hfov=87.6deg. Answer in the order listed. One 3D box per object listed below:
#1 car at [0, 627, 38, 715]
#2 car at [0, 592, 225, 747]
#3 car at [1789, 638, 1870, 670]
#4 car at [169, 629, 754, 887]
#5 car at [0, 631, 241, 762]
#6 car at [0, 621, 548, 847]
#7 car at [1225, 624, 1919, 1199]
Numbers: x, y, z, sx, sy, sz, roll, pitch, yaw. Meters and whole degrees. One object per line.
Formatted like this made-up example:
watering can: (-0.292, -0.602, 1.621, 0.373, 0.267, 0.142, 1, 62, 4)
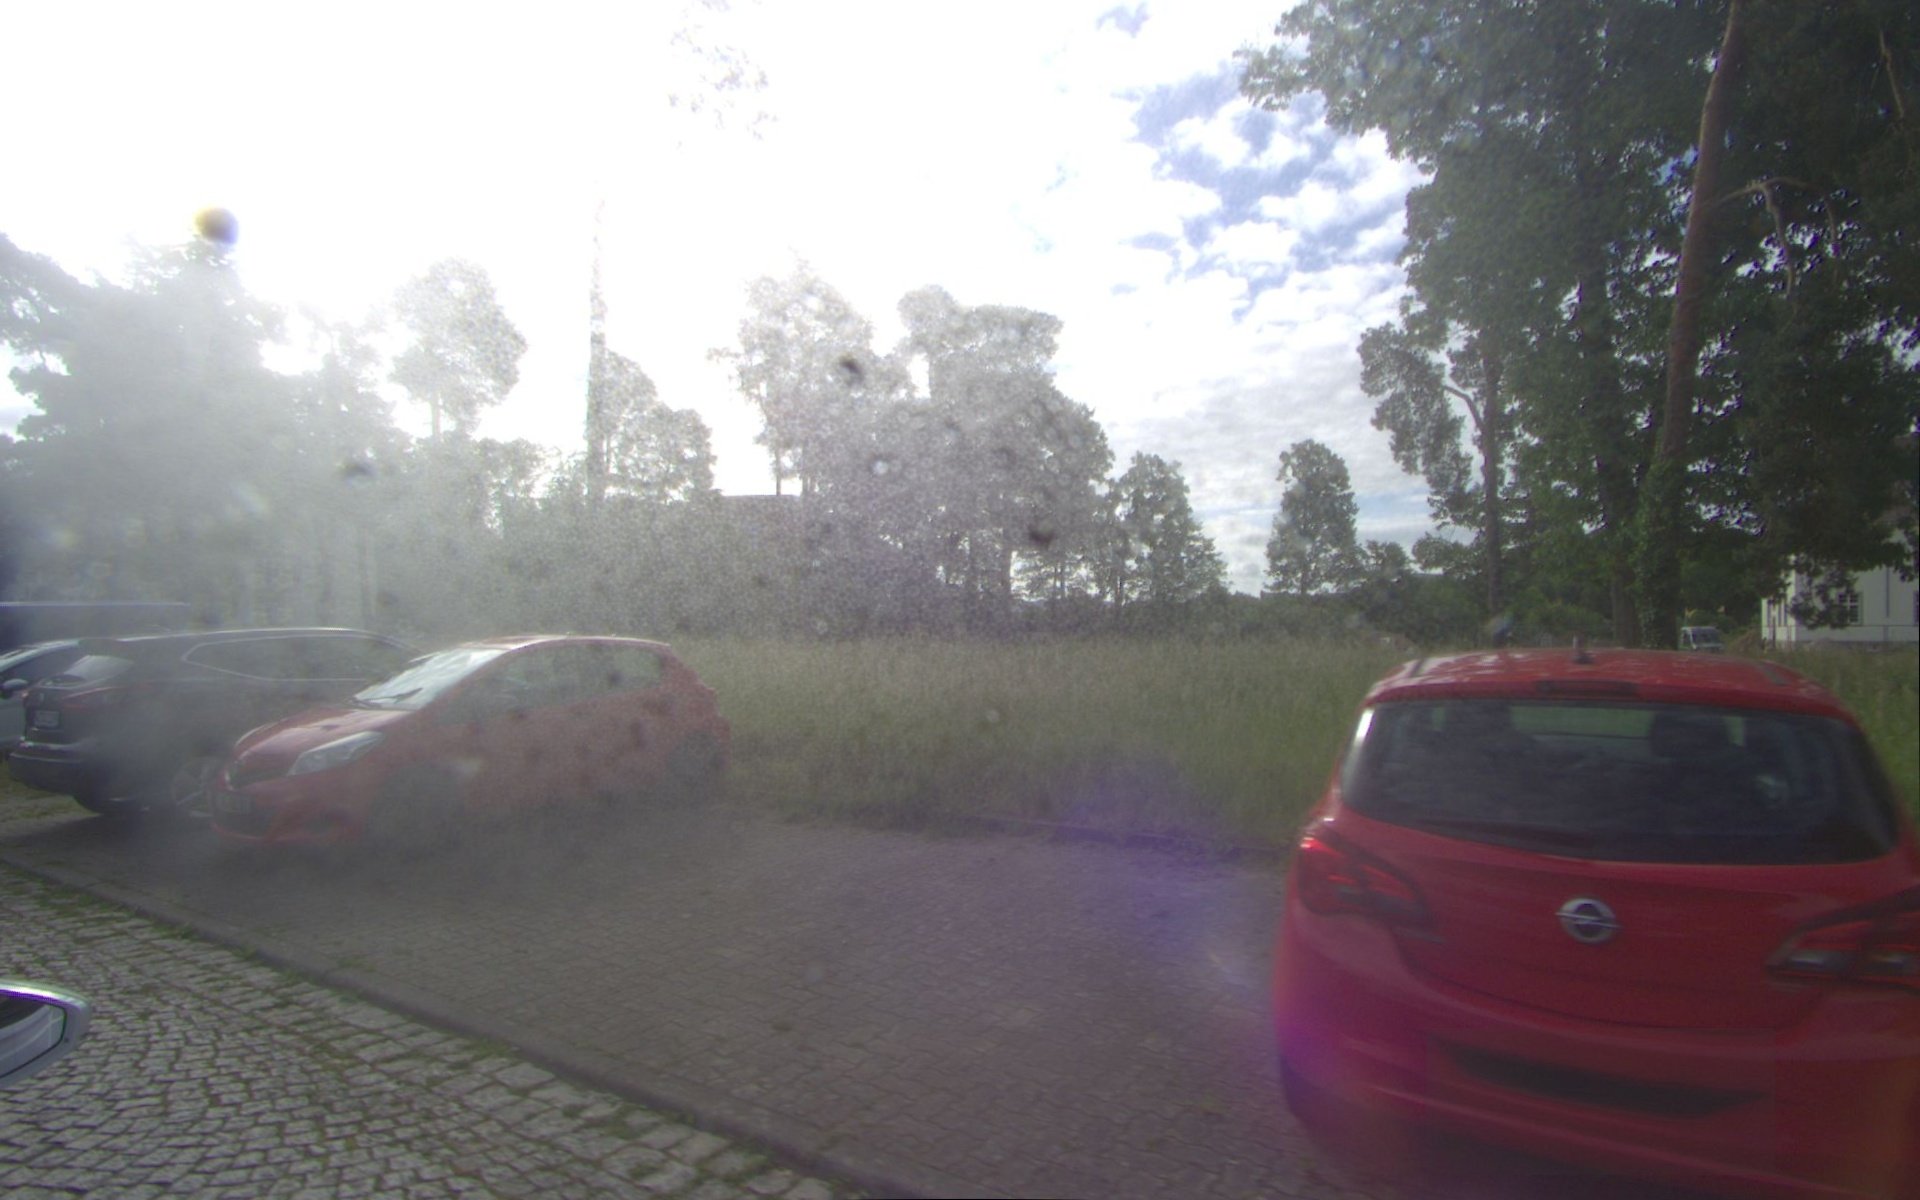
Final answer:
car: (-17.955, 1.208, 16.826, 1.639, 1.524, 3.289, 0, -2, 30)
car: (-13.426, 0.943, 14.028, 1.712, 2.066, 4.777, 0, -2, 30)
car: (57.648, 3.580, 66.568, 2.446, 2.038, 5.822, -1, -3, 24)
car: (-3.706, 1.017, 8.169, 1.713, 1.538, 3.980, 0, -2, 32)
car: (-11.488, 1.160, 12.536, 1.629, 1.442, 3.717, 0, 0, 30)
car: (-6.073, 1.025, 9.266, 1.736, 1.600, 3.946, 0, -2, 31)
car: (2.430, 0.875, 3.904, 1.713, 1.525, 3.833, 0, -1, 31)
